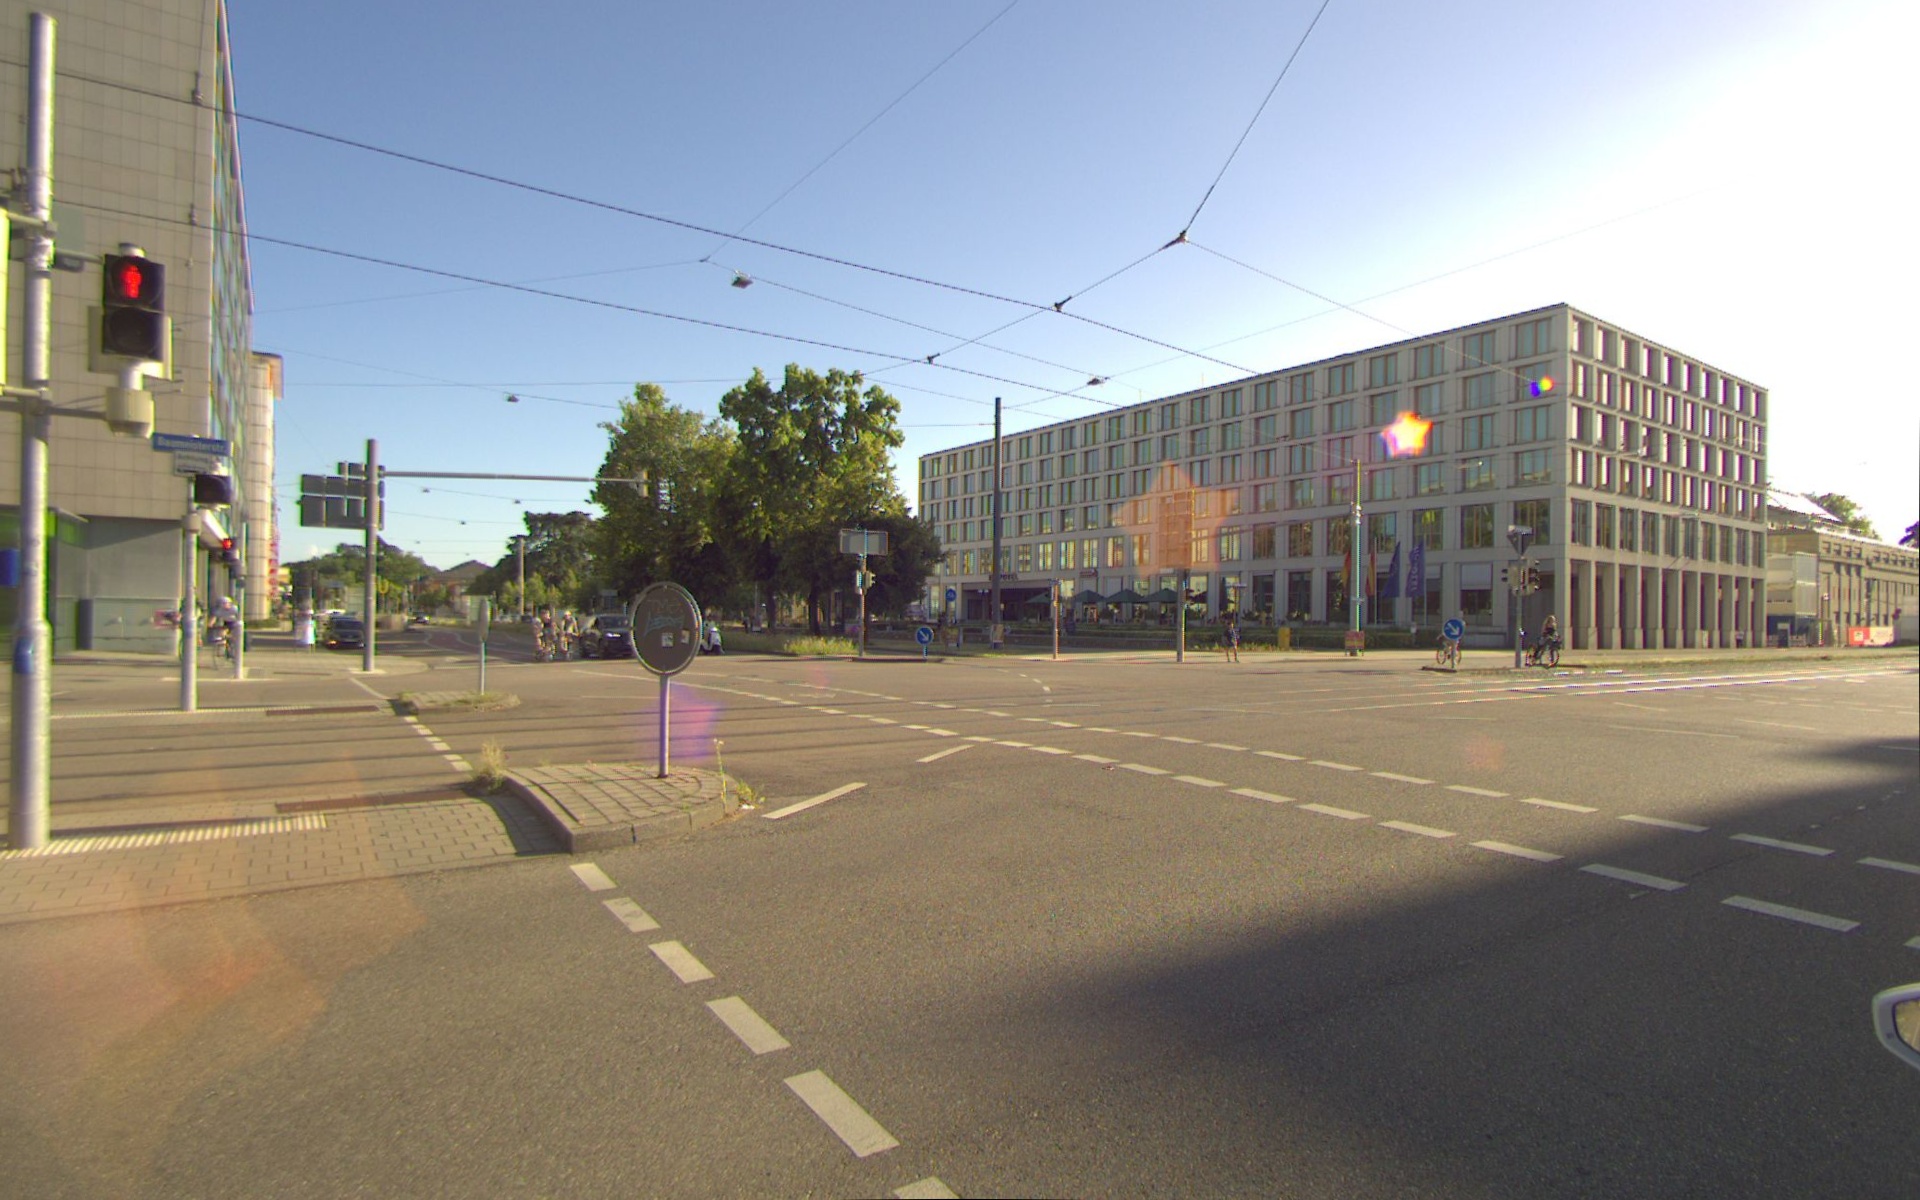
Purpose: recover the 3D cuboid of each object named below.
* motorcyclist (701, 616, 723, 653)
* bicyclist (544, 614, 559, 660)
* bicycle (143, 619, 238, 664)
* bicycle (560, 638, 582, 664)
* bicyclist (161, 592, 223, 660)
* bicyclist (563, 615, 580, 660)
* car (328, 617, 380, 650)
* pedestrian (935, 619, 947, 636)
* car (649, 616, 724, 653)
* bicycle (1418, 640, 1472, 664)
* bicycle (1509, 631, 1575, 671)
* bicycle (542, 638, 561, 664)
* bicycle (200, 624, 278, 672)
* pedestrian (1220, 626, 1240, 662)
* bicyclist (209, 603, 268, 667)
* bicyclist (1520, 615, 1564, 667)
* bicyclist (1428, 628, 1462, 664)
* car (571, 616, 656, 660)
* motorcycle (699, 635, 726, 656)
[{"bbox_3d":[-10.019,1.387,40.565,0.601,1.465,0.729,1,-1,-37],"label":"motorcyclist"},{"bbox_3d":[-14.380,1.301,35.367,0.355,1.596,0.530,1,-1,-34],"label":"bicyclist"},{"bbox_3d":[-20.231,1.072,26.455,0.740,1.081,1.909,3,-1,13],"label":"bicycle"},{"bbox_3d":[-13.928,1.819,35.931,0.448,0.885,1.372,1,-1,-34],"label":"bicycle"},{"bbox_3d":[-20.216,0.677,26.465,0.749,1.713,0.947,4,0,13],"label":"bicyclist"},{"bbox_3d":[-13.885,1.342,35.888,0.449,1.596,0.530,1,-1,-34],"label":"bicyclist"},{"bbox_3d":[-30.025,1.633,49.713,1.979,1.594,4.507,2,-2,-34],"label":"car"},{"bbox_3d":[-1.724,2.505,91.824,0.777,1.546,0.755,1,-1,-34],"label":"pedestrian"},{"bbox_3d":[-12.444,1.522,45.510,1.979,1.594,4.507,1,-2,-34],"label":"car"},{"bbox_3d":[18.650,1.988,38.596,2.312,0.862,0.835,2,-2,-35],"label":"bicycle"},{"bbox_3d":[18.772,1.622,32.455,0.830,1.247,2.013,1,-1,-5],"label":"bicycle"},{"bbox_3d":[-14.388,1.797,35.360,0.348,0.885,1.372,1,-1,-34],"label":"bicycle"},{"bbox_3d":[-18.407,1.202,25.696,0.870,1.081,2.176,4,-1,-16],"label":"bicycle"},{"bbox_3d":[11.825,1.910,43.966,0.618,1.546,0.596,2,-1,-39],"label":"pedestrian"},{"bbox_3d":[-18.313,0.873,25.507,0.874,1.526,0.904,4,0,-16],"label":"bicyclist"},{"bbox_3d":[18.776,1.329,32.418,0.836,1.640,0.972,1,-1,-5],"label":"bicyclist"},{"bbox_3d":[18.650,1.755,38.590,0.963,1.380,0.819,1,-1,-35],"label":"bicyclist"},{"bbox_3d":[-13.249,1.409,38.265,1.979,1.594,4.507,1,-2,-34],"label":"car"},{"bbox_3d":[-9.994,1.837,40.503,0.618,0.806,1.296,2,-2,-36],"label":"motorcycle"}]
